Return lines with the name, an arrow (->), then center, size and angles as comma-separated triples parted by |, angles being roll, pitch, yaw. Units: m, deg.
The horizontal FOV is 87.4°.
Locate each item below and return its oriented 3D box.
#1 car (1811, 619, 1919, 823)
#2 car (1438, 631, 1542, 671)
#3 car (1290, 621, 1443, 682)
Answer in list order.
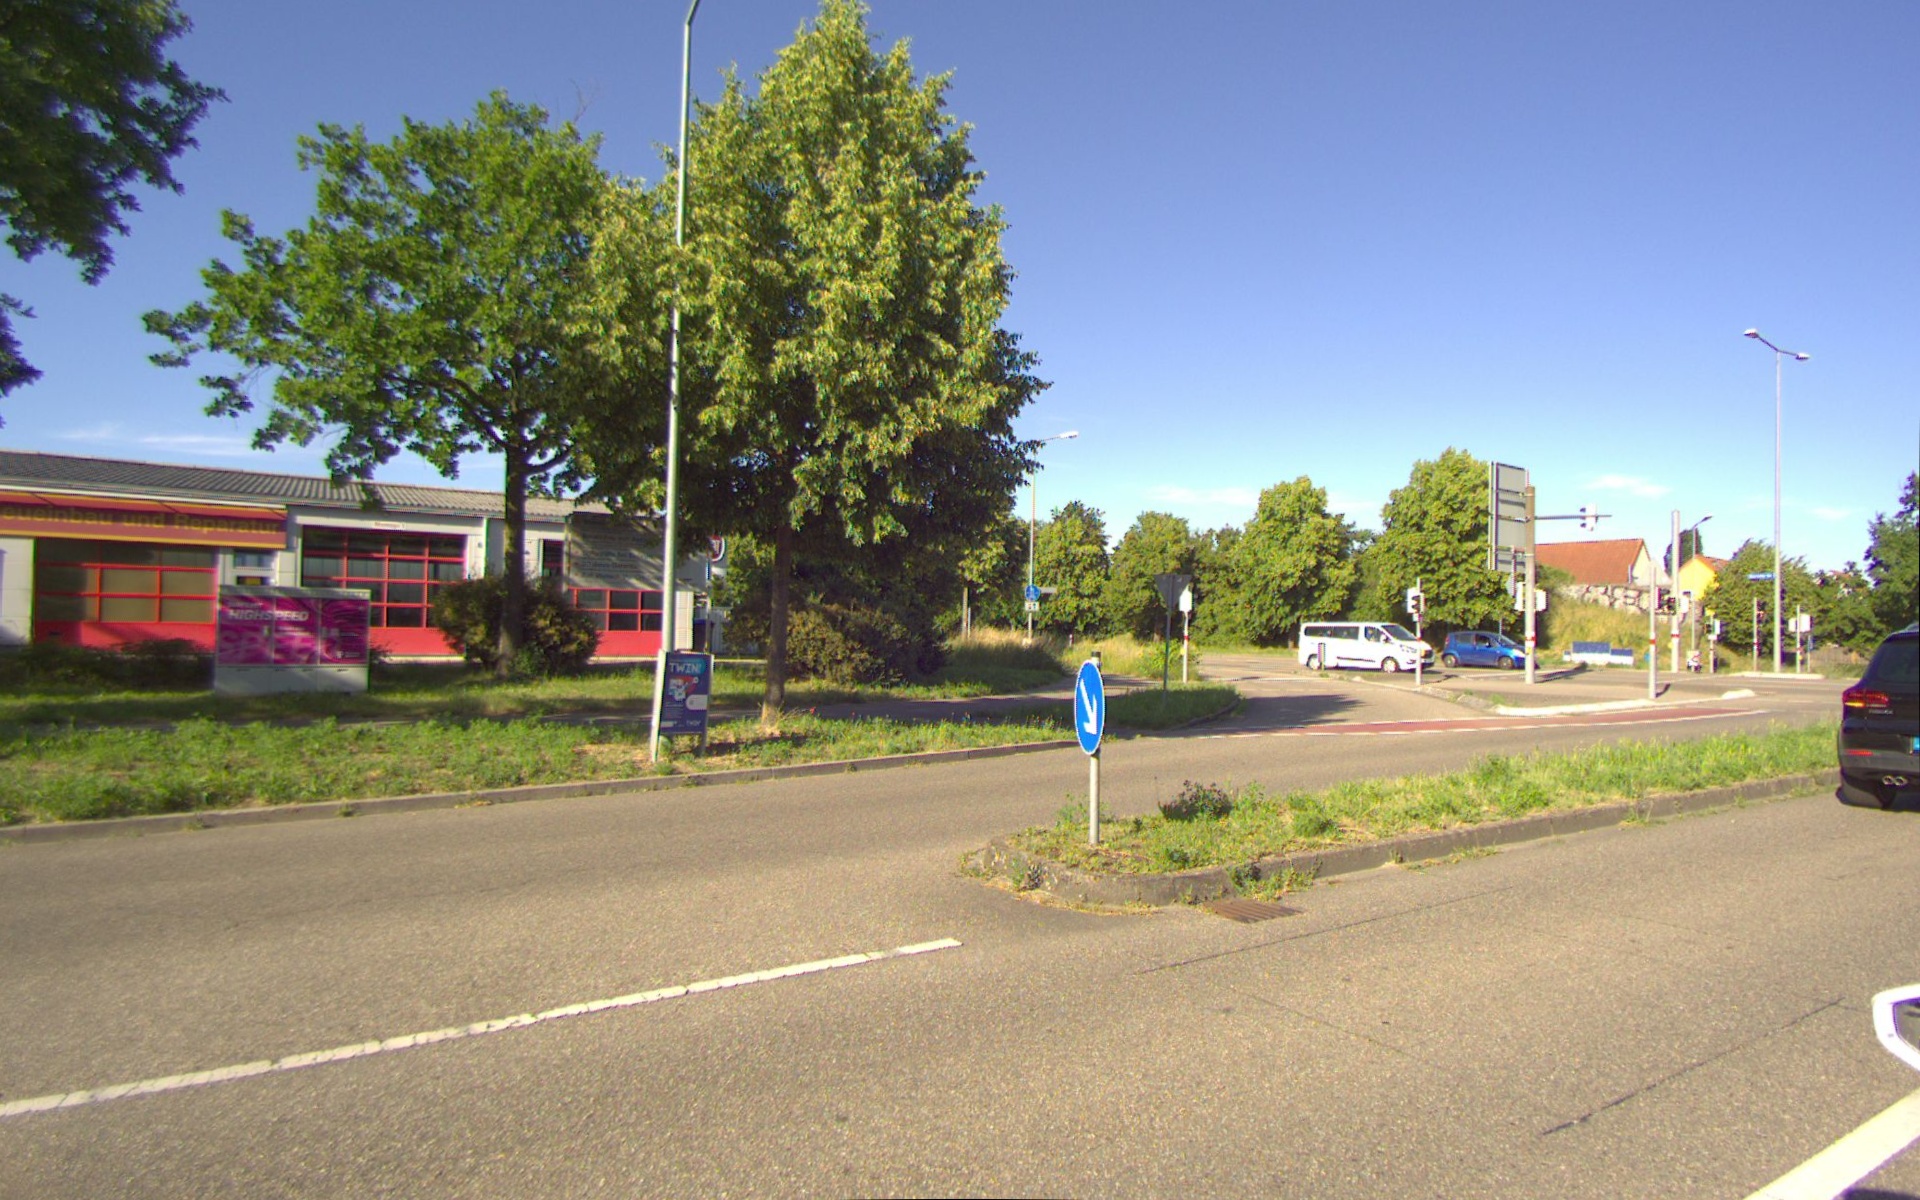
car -> 9.659, 1.043, 9.147 | 3.955, 1.675, 1.763 | 2, -3, -32
car -> 22.552, 2.138, 42.812 | 1.733, 1.581, 3.559 | 2, -2, -35
car -> 16.038, 1.981, 39.913 | 2.160, 2.146, 5.350 | 2, -1, -35
